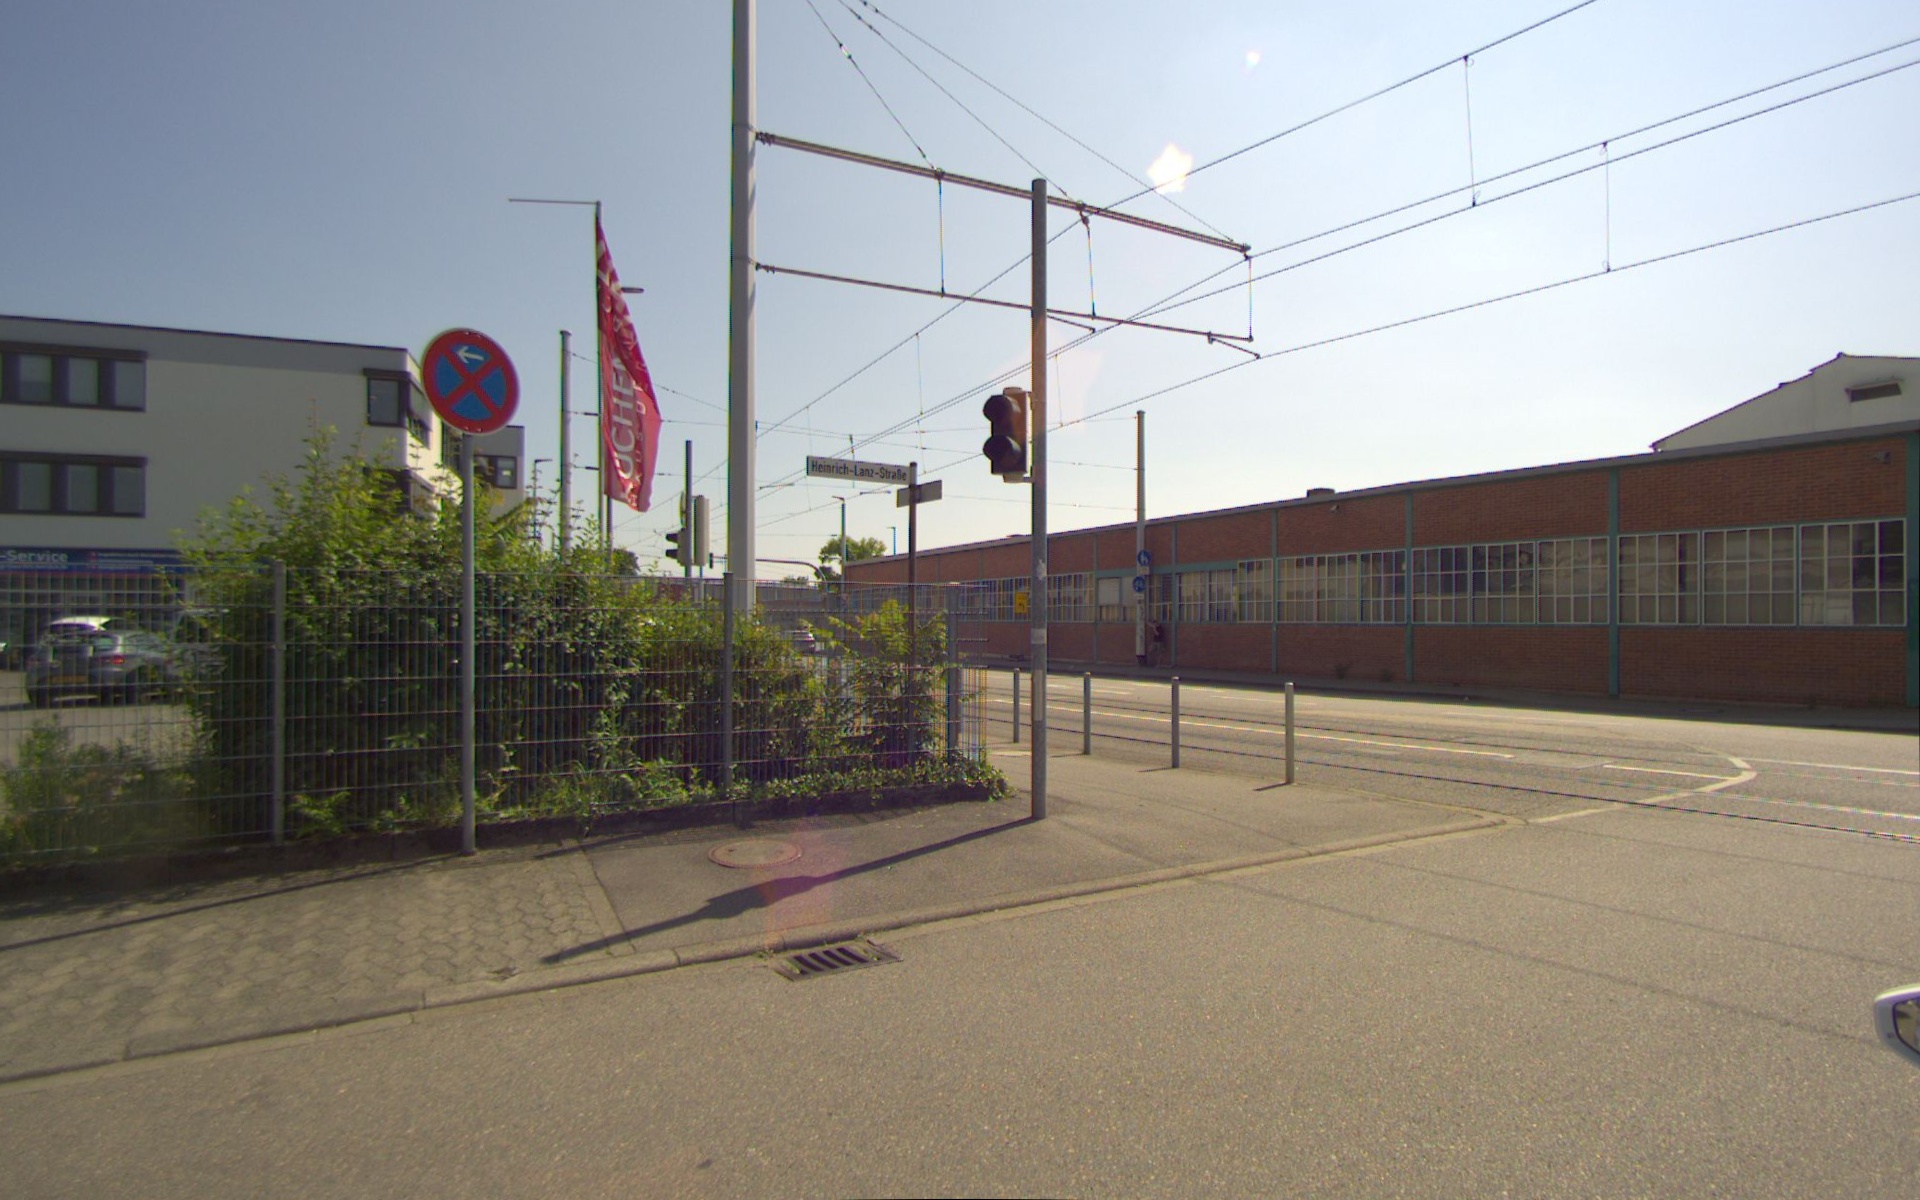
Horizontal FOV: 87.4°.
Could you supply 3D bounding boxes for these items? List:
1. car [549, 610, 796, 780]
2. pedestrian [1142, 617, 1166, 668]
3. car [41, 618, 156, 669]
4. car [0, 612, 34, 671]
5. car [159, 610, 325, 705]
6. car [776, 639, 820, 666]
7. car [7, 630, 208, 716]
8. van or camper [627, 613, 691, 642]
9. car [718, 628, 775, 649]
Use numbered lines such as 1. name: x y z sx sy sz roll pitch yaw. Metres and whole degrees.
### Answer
1. car: -3.237 0.915 10.769 1.692 1.452 3.925 2 -3 -29
2. pedestrian: 6.963 1.527 36.025 0.676 1.788 0.447 1 1 -21
3. car: -26.082 1.308 30.524 1.398 1.445 3.123 0 -2 -15
4. car: -29.084 1.218 29.333 1.975 1.706 3.972 1 -2 -27
5. car: -15.373 1.175 21.772 1.899 1.847 4.022 0 -2 -20
6. car: -9.750 3.132 60.328 1.726 1.478 3.979 -1 -1 -22
7. car: -17.521 1.425 20.910 1.899 1.578 4.022 0 -2 -20
8. van or camper: -33.632 3.023 112.322 6.850 2.970 2.353 1 0 22
9. car: -16.847 3.020 79.184 4.157 1.528 1.992 0 -2 -19
